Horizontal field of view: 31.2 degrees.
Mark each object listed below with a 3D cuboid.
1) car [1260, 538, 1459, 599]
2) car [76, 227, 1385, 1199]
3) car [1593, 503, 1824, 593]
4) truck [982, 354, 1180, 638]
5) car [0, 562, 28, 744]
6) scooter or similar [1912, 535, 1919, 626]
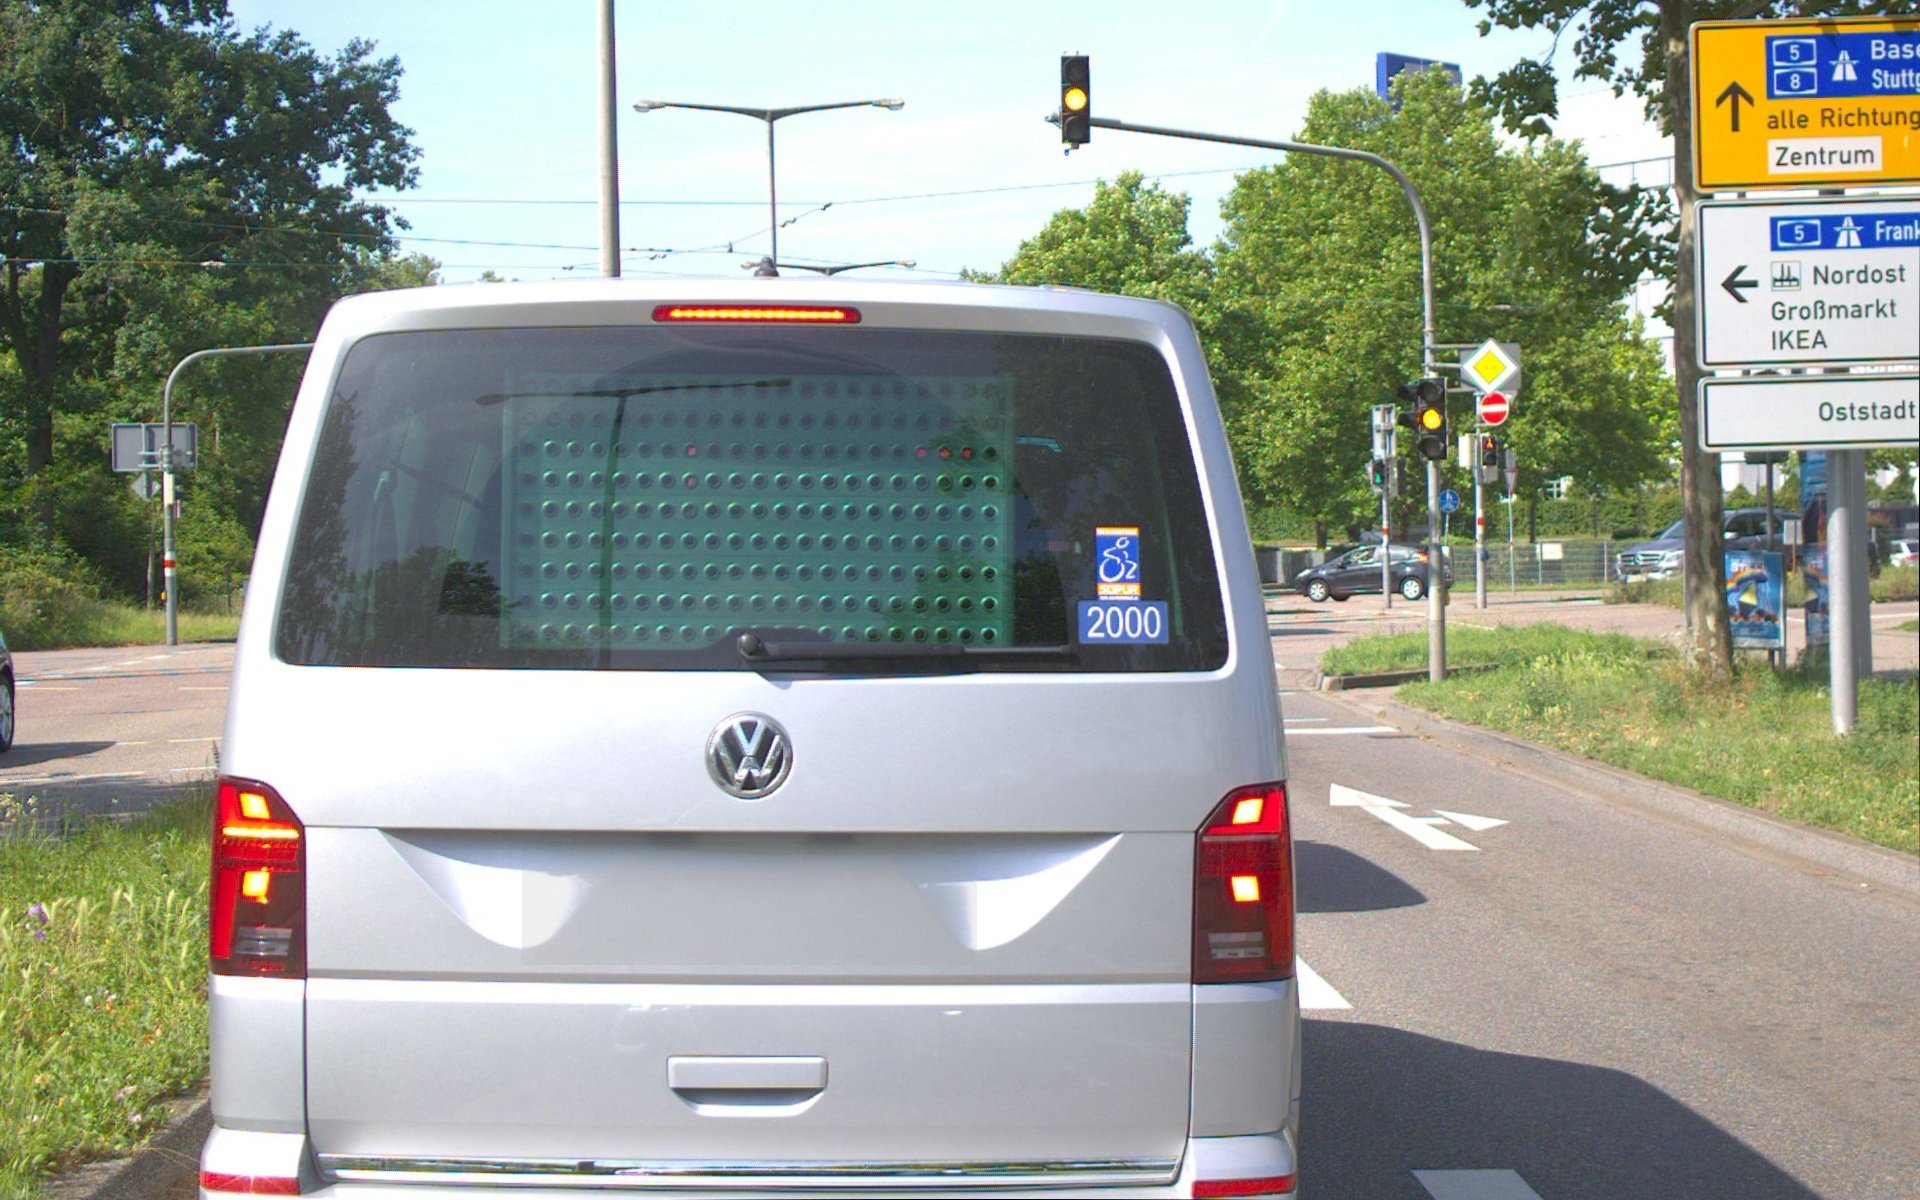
[{"bbox_3d":[10.056,-0.786,86.616,4.619,1.439,1.779,-1,1,31],"label":"car"},{"bbox_3d":[-0.367,0.394,7.655,1.941,1.965,5.022,-1,1,-1],"label":"car"},{"bbox_3d":[15.000,-1.051,68.781,4.613,1.683,1.915,-2,1,-37],"label":"car"},{"bbox_3d":[1.730,-1.534,52.906,2.552,3.943,8.975,-1,1,-1],"label":"truck"},{"bbox_3d":[-8.685,0.511,27.043,1.863,1.462,3.939,-3,2,-5],"label":"car"},{"bbox_3d":[12.135,-0.243,42.406,0.424,1.122,1.124,-1,1,-1],"label":"scooter or similar"}]
